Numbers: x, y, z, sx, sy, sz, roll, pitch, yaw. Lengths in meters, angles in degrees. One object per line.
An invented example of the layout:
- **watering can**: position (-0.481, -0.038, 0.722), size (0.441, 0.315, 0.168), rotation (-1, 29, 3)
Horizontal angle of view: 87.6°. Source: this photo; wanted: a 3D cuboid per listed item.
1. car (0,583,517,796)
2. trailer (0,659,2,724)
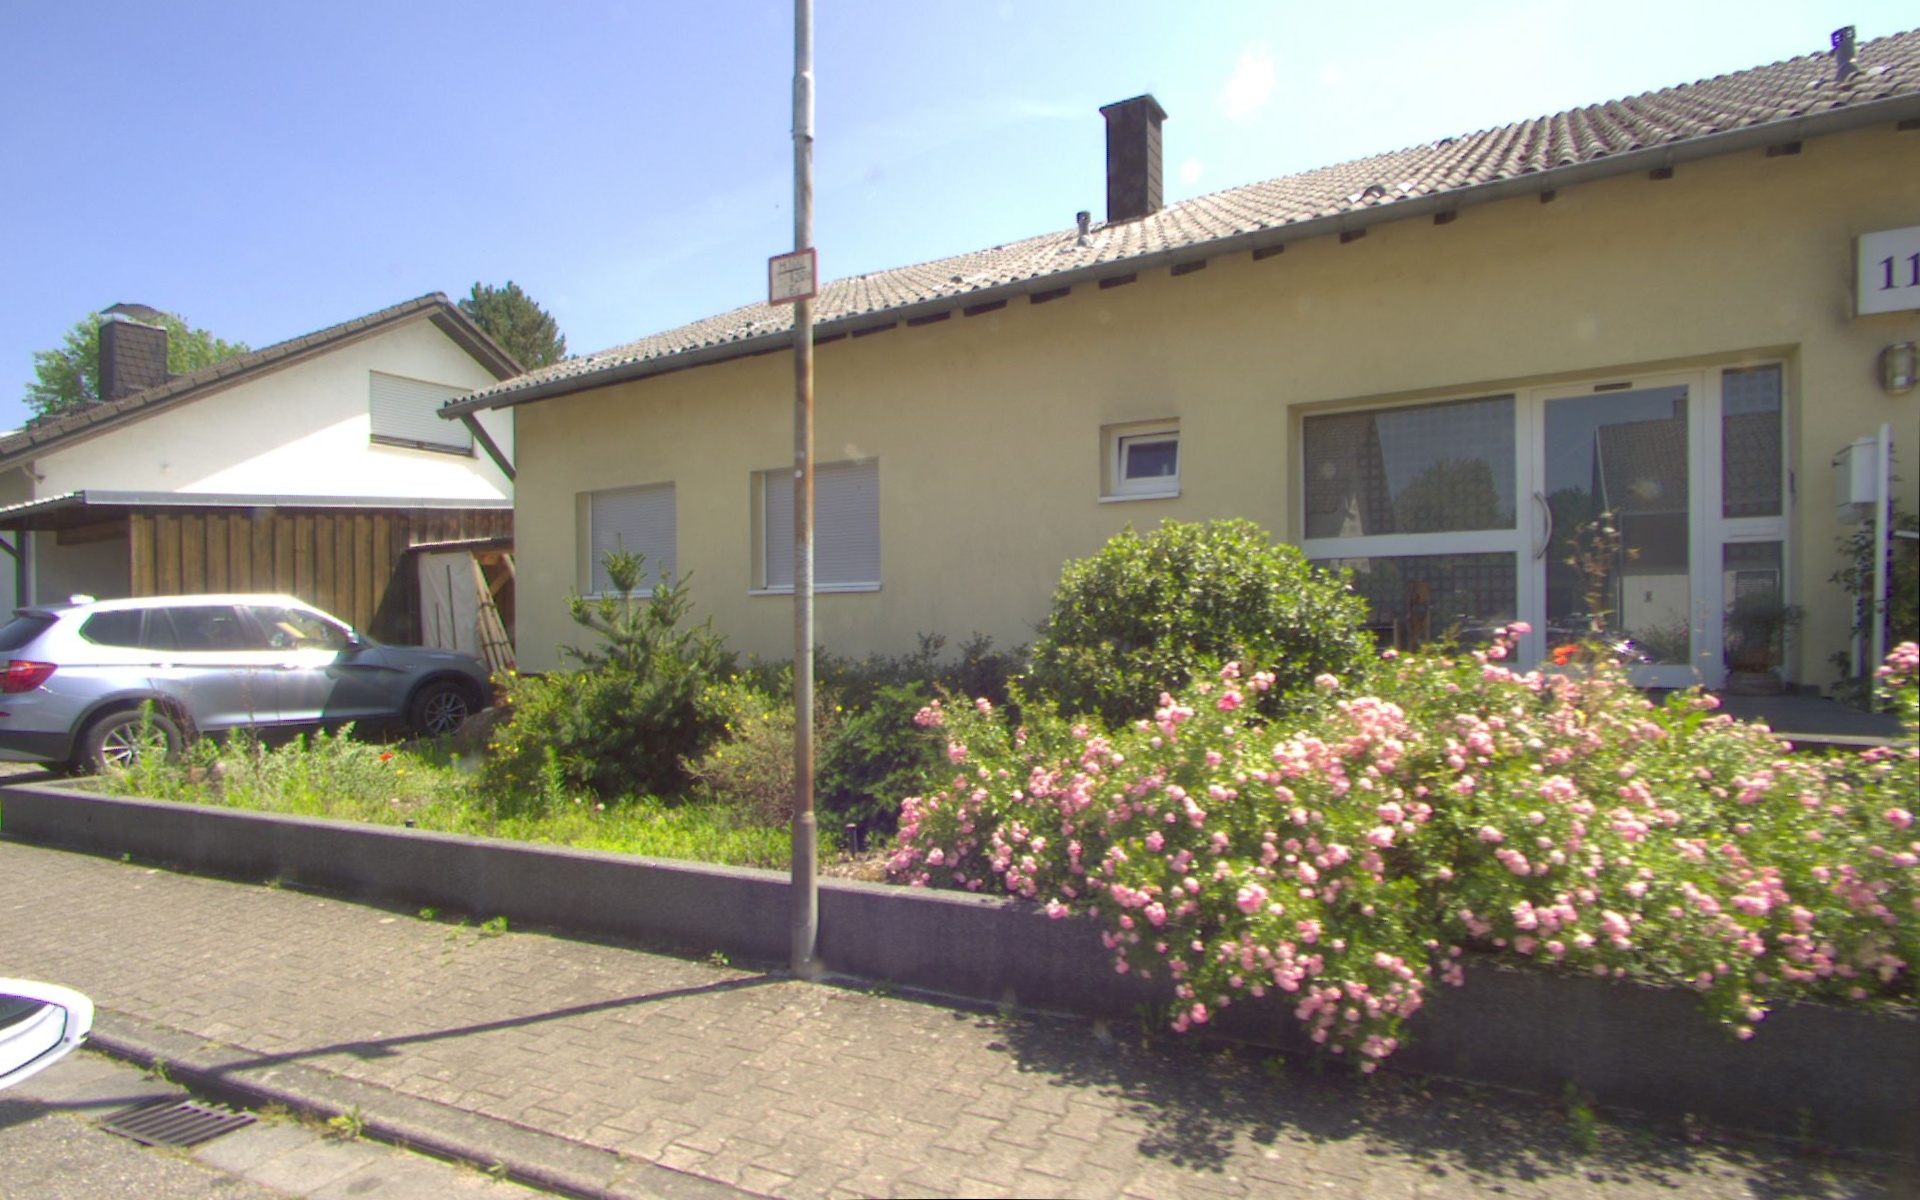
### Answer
- **car**: position (-7.243, 0.711, 10.419), size (1.686, 1.725, 4.614), rotation (-1, 0, 34)
- **trailer**: position (-14.278, 0.785, 13.229), size (3.249, 1.695, 1.583), rotation (0, 1, 32)
